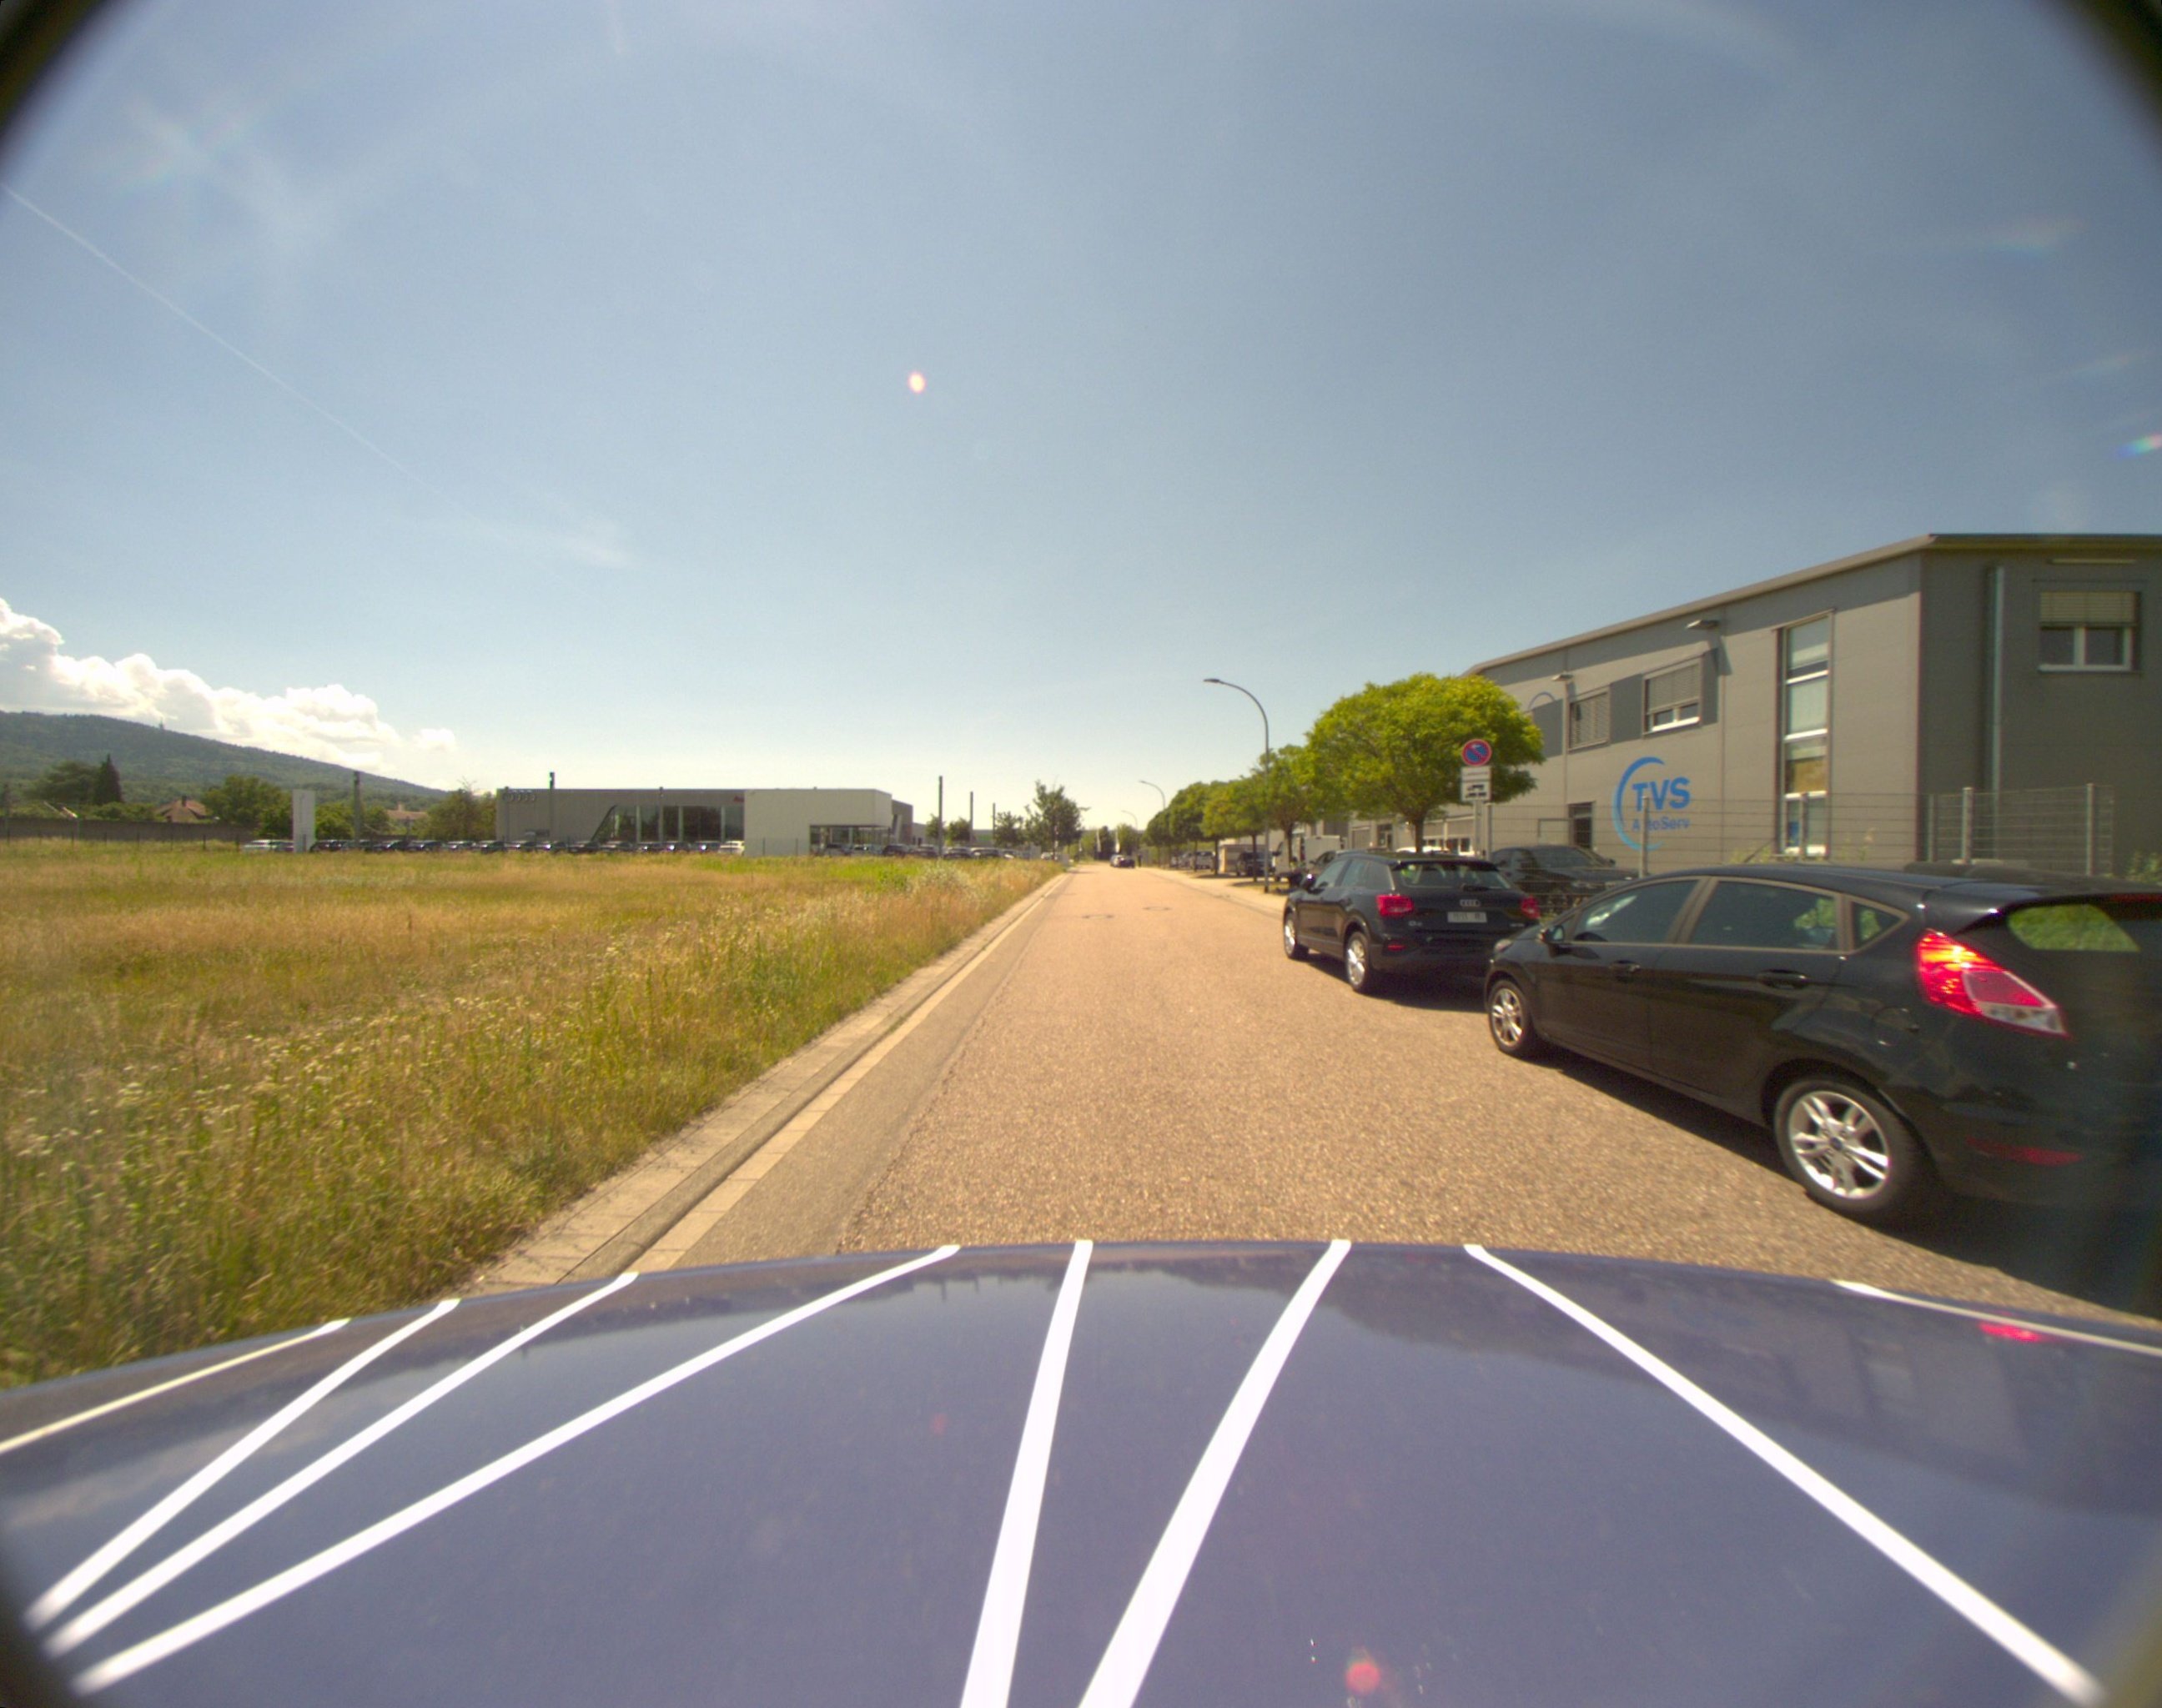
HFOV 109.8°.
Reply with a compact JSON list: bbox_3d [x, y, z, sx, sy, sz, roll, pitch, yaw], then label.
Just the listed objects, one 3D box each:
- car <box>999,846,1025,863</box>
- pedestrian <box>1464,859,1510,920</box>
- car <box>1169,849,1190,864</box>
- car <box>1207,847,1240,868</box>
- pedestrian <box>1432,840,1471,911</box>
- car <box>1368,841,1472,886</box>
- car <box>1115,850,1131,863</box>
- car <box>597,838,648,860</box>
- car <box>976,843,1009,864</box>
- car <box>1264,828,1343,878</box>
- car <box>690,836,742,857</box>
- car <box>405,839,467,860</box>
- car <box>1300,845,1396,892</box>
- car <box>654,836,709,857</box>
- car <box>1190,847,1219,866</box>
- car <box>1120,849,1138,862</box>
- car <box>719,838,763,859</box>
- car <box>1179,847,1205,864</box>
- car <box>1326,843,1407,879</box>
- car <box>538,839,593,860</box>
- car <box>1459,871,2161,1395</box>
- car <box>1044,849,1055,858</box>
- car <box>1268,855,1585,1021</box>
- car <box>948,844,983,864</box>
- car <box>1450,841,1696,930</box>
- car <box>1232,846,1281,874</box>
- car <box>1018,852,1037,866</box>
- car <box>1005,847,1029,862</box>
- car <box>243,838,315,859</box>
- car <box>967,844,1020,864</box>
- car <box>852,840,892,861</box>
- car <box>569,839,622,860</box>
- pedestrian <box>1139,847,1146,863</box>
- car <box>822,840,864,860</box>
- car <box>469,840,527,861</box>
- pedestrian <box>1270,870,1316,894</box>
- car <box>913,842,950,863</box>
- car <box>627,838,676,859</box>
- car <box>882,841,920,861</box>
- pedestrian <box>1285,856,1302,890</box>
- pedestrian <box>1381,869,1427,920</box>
[{"bbox_3d":[-7.020,0.060,77.706,2.030,1.564,4.779,2,0,1],"label":"car"},{"bbox_3d":[8.322,0.720,15.596,0.507,1.185,0.753,-3,1,3],"label":"pedestrian"},{"bbox_3d":[10.557,0.298,81.772,1.828,1.491,4.328,-2,0,3],"label":"car"},{"bbox_3d":[10.226,0.254,54.702,1.770,1.445,3.840,-1,0,2],"label":"car"},{"bbox_3d":[8.485,0.477,17.418,0.507,1.586,0.753,-3,1,3],"label":"pedestrian"},{"bbox_3d":[12.383,0.331,28.107,1.931,1.456,4.465,-2,0,2],"label":"car"},{"bbox_3d":[5.020,0.271,91.383,1.829,1.491,4.259,1,0,1],"label":"car"},{"bbox_3d":[-39.992,-0.433,66.407,1.998,1.774,4.000,1,0,1],"label":"car"},{"bbox_3d":[-7.700,-0.028,66.330,2.029,1.683,5.109,2,0,2],"label":"car"},{"bbox_3d":[9.748,-0.042,33.709,1.842,2.007,5.125,-2,0,-1],"label":"car"},{"bbox_3d":[-31.953,-0.633,66.700,2.029,1.715,4.809,2,0,2],"label":"car"},{"bbox_3d":[-56.708,-0.377,66.881,1.998,1.774,4.000,1,0,1],"label":"car"},{"bbox_3d":[9.712,0.476,28.102,1.931,1.432,4.840,-3,1,2],"label":"car"},{"bbox_3d":[-34.830,-0.630,66.418,2.029,1.715,4.809,2,0,2],"label":"car"},{"bbox_3d":[10.593,0.179,65.443,1.770,1.564,4.540,-1,0,1],"label":"car"},{"bbox_3d":[5.345,0.156,85.487,1.829,1.491,4.525,1,0,1],"label":"car"},{"bbox_3d":[-29.523,-0.468,66.102,1.998,1.774,4.000,1,0,1],"label":"car"},{"bbox_3d":[10.271,0.116,70.590,1.687,1.491,3.703,0,0,-4],"label":"car"},{"bbox_3d":[12.480,0.298,33.480,1.932,1.432,4.086,-2,0,-1],"label":"car"},{"bbox_3d":[-45.001,-0.412,66.412,1.998,1.774,4.000,1,0,1],"label":"car"},{"bbox_3d":[3.824,0.889,4.186,1.594,1.484,3.833,1,0,1],"label":"car"},{"bbox_3d":[-5.693,-0.035,138.433,1.824,1.519,4.944,2,0,0],"label":"car"},{"bbox_3d":[3.796,0.801,9.304,1.932,1.558,4.189,1,0,0],"label":"car"},{"bbox_3d":[-10.006,-0.003,66.220,2.029,1.601,4.809,2,0,2],"label":"car"},{"bbox_3d":[9.649,0.543,15.488,1.932,1.456,4.691,-2,0,0],"label":"car"},{"bbox_3d":[10.141,0.316,44.113,1.770,1.445,4.714,-2,0,1],"label":"car"},{"bbox_3d":[-6.622,0.582,94.752,1.966,1.448,4.984,2,2,1],"label":"car"},{"bbox_3d":[-6.929,0.066,83.216,2.030,1.505,5.239,3,0,1],"label":"car"},{"bbox_3d":[-70.489,-0.523,66.860,1.998,1.774,4.000,1,0,1],"label":"car"},{"bbox_3d":[-8.053,-0.013,70.233,4.539,1.683,2.031,2,0,1],"label":"car"},{"bbox_3d":[-18.243,-0.298,66.591,2.029,1.644,4.809,2,0,2],"label":"car"},{"bbox_3d":[-42.396,-0.422,66.470,1.998,1.774,4.000,1,0,1],"label":"car"},{"bbox_3d":[7.035,0.095,87.045,0.746,1.791,1.135,-2,0,3],"label":"pedestrian"},{"bbox_3d":[-20.801,-0.335,66.641,2.029,1.644,4.809,2,0,2],"label":"car"},{"bbox_3d":[-51.146,-0.336,66.716,1.998,1.774,4.000,1,0,1],"label":"car"},{"bbox_3d":[7.233,0.952,26.013,1.361,0.744,0.753,-3,1,3],"label":"pedestrian"},{"bbox_3d":[-12.950,-0.158,66.183,2.029,1.715,4.809,2,0,2],"label":"car"},{"bbox_3d":[-37.395,-0.451,66.295,1.998,1.774,4.000,1,0,1],"label":"car"},{"bbox_3d":[-15.619,-0.254,66.195,2.029,1.670,4.809,2,0,2],"label":"car"},{"bbox_3d":[7.666,0.686,27.426,0.479,1.144,0.555,-3,3,11],"label":"pedestrian"},{"bbox_3d":[7.278,0.907,17.166,0.752,1.092,0.646,-3,1,5],"label":"pedestrian"}]
